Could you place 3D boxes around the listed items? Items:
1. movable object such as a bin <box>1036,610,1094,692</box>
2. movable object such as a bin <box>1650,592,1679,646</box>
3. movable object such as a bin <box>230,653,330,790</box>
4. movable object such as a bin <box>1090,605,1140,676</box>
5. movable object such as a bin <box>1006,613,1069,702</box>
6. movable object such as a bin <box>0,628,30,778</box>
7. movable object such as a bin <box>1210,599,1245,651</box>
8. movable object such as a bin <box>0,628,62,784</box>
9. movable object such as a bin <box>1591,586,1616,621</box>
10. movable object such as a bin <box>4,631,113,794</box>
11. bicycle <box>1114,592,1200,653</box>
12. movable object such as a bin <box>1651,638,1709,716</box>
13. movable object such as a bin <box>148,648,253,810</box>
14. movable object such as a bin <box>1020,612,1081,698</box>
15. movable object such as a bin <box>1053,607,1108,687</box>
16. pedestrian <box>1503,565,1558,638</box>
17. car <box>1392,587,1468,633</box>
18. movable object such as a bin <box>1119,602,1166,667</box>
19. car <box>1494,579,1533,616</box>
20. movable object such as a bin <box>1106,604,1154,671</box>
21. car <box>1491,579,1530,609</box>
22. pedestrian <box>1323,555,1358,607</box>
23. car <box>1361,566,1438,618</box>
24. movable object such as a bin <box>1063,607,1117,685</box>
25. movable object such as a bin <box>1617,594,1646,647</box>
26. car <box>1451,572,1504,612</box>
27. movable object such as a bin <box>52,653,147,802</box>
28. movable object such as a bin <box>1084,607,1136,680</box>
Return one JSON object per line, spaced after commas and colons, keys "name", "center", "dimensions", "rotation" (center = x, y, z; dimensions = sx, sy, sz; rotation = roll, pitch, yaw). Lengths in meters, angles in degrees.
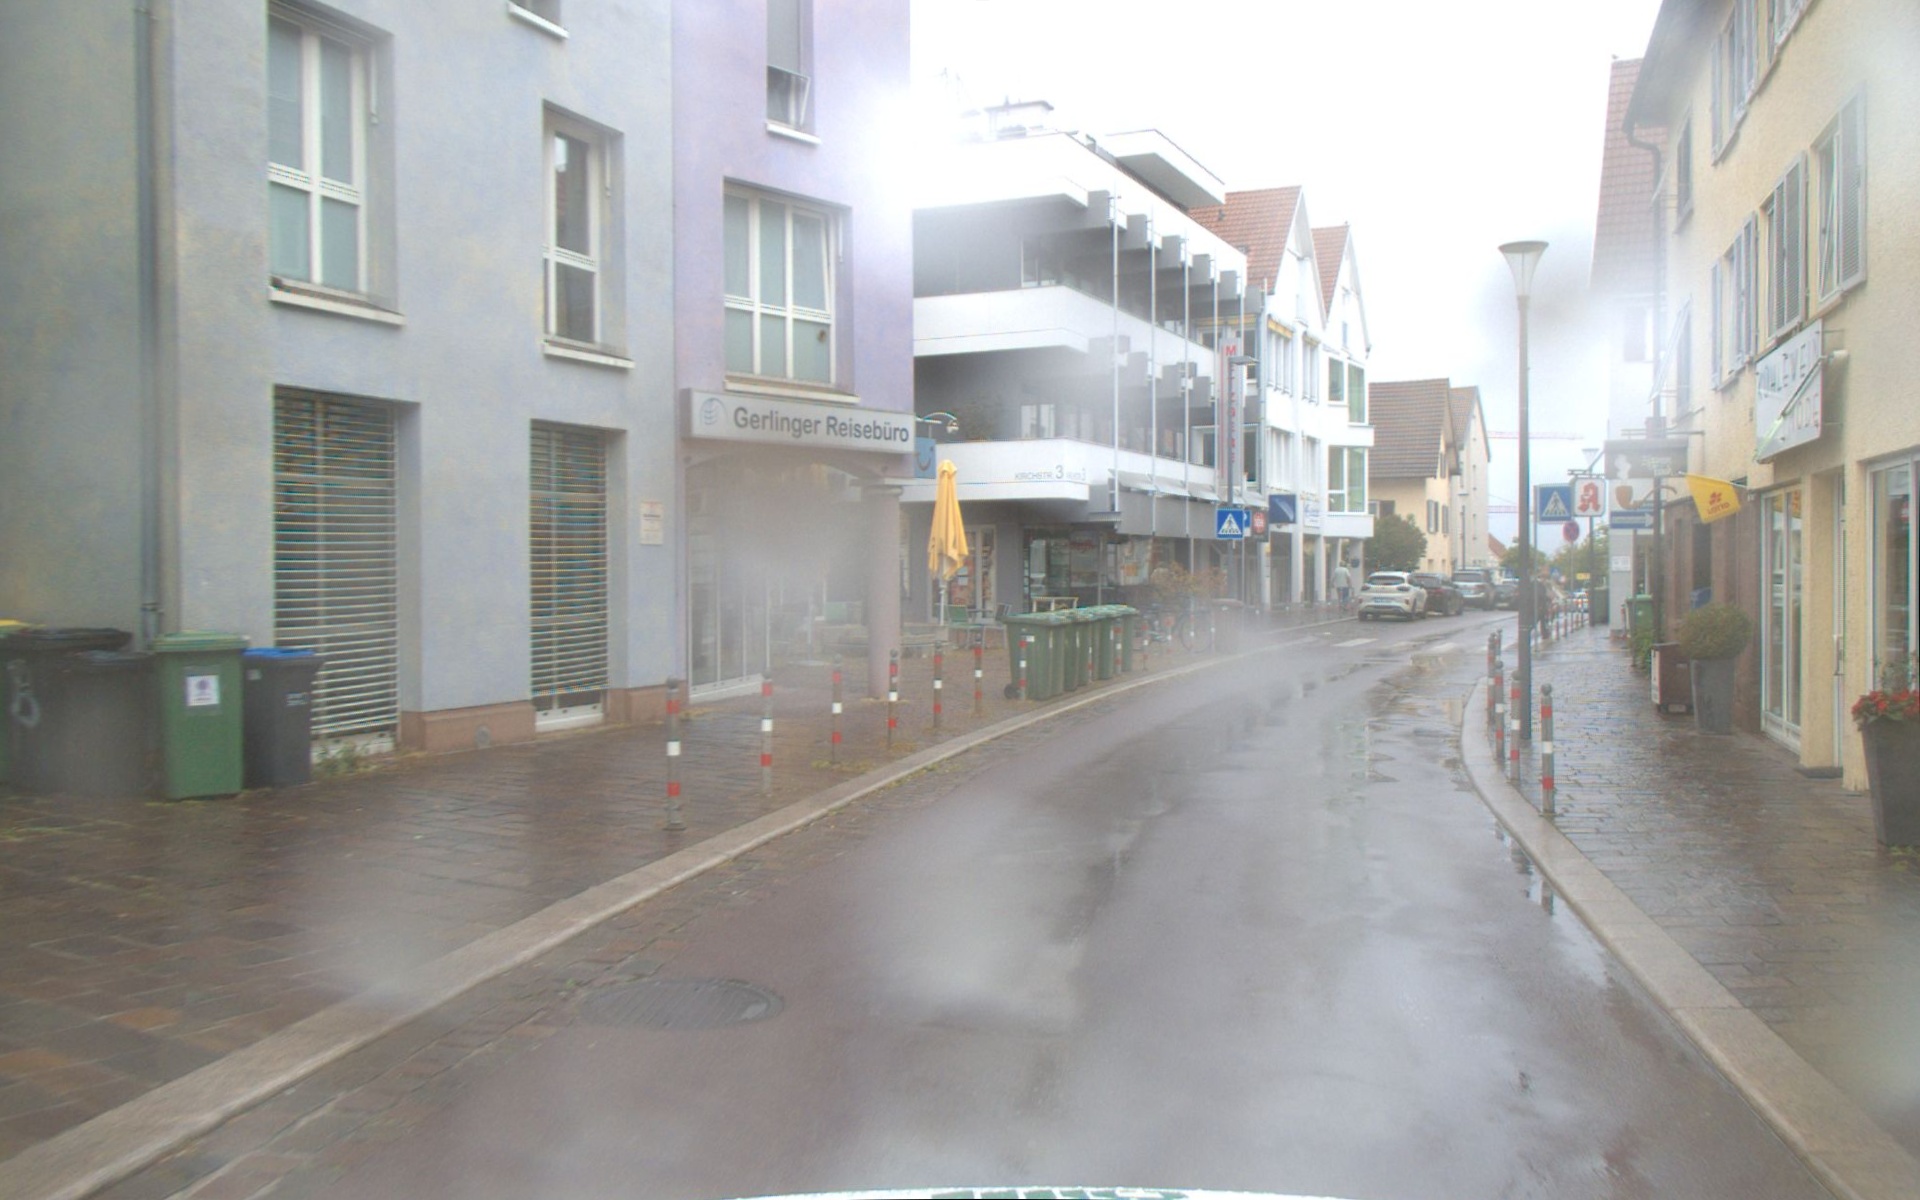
{"name": "movable object such as a bin", "center": [1.457, 0.692, 22.970], "dimensions": [0.672, 1.100, 0.670], "rotation": [0, 1, 16]}
{"name": "movable object such as a bin", "center": [14.311, 0.380, 33.593], "dimensions": [0.490, 1.075, 0.548], "rotation": [-2, -2, 25]}
{"name": "movable object such as a bin", "center": [-4.710, 0.832, 11.472], "dimensions": [0.450, 0.911, 0.450], "rotation": [0, -1, 14]}
{"name": "movable object such as a bin", "center": [2.453, 0.639, 26.217], "dimensions": [0.672, 1.095, 0.670], "rotation": [0, 1, 16]}
{"name": "movable object such as a bin", "center": [1.005, 0.732, 21.364], "dimensions": [0.672, 1.097, 0.677], "rotation": [0, 1, 16]}
{"name": "movable object such as a bin", "center": [-6.953, 0.726, 11.720], "dimensions": [0.466, 1.046, 0.471], "rotation": [0, -1, 36]}
{"name": "movable object such as a bin", "center": [5.380, 0.499, 33.236], "dimensions": [0.672, 1.038, 0.632], "rotation": [0, 1, 8]}
{"name": "movable object such as a bin", "center": [-6.550, 0.718, 11.399], "dimensions": [0.467, 1.046, 0.471], "rotation": [0, -1, 39]}
{"name": "movable object such as a bin", "center": [20.138, 0.102, 51.757], "dimensions": [0.663, 1.105, 0.717], "rotation": [0, 0, 26]}
{"name": "movable object such as a bin", "center": [-6.024, 0.736, 11.051], "dimensions": [0.466, 1.046, 0.471], "rotation": [0, -1, 36]}
{"name": "bicycle", "center": [3.959, 0.451, 33.287], "dimensions": [1.709, 1.185, 0.444], "rotation": [1, -1, 5]}
{"name": "movable object such as a bin", "center": [8.534, 0.908, 19.623], "dimensions": [0.534, 0.851, 0.910], "rotation": [-2, 0, 19]}
{"name": "movable object such as a bin", "center": [-4.934, 0.820, 10.735], "dimensions": [0.565, 1.006, 0.483], "rotation": [1, -1, -30]}
{"name": "movable object such as a bin", "center": [1.210, 0.722, 22.086], "dimensions": [0.672, 1.106, 0.713], "rotation": [0, 1, 16]}
{"name": "movable object such as a bin", "center": [1.751, 0.678, 24.038], "dimensions": [0.672, 1.124, 0.670], "rotation": [0, 1, 16]}
{"name": "pedestrian", "center": [13.826, 0.040, 40.069], "dimensions": [1.153, 1.727, 1.177], "rotation": [-1, 0, 22]}
{"name": "car", "center": [16.793, 0.335, 59.009], "dimensions": [1.794, 1.525, 4.759], "rotation": [-1, 0, 26]}
{"name": "movable object such as a bin", "center": [3.065, 0.576, 27.801], "dimensions": [0.672, 1.057, 0.670], "rotation": [0, 1, 16]}
{"name": "car", "center": [29.439, -0.100, 87.907], "dimensions": [1.688, 1.857, 4.427], "rotation": [0, -1, 22]}
{"name": "movable object such as a bin", "center": [2.799, 0.603, 27.135], "dimensions": [0.672, 1.060, 0.670], "rotation": [0, 1, 16]}
{"name": "car", "center": [27.494, -0.297, 82.539], "dimensions": [1.646, 1.413, 3.825], "rotation": [0, -1, 21]}
{"name": "pedestrian", "center": [13.811, -0.689, 60.070], "dimensions": [1.014, 1.837, 1.115], "rotation": [1, 1, 25]}
{"name": "car", "center": [14.234, -0.229, 53.415], "dimensions": [1.756, 1.578, 3.997], "rotation": [1, -1, 24]}
{"name": "movable object such as a bin", "center": [1.945, 0.681, 24.733], "dimensions": [0.672, 1.124, 0.670], "rotation": [0, 1, 16]}
{"name": "movable object such as a bin", "center": [13.729, 0.425, 33.821], "dimensions": [0.490, 1.075, 0.548], "rotation": [-2, -2, 25]}
{"name": "car", "center": [22.076, -0.335, 70.423], "dimensions": [1.744, 1.596, 4.406], "rotation": [0, -1, 23]}
{"name": "movable object such as a bin", "center": [-5.619, 0.820, 10.803], "dimensions": [0.428, 0.931, 0.385], "rotation": [0, -1, 35]}
{"name": "movable object such as a bin", "center": [2.304, 0.657, 25.347], "dimensions": [0.672, 1.092, 0.670], "rotation": [0, 1, 16]}
